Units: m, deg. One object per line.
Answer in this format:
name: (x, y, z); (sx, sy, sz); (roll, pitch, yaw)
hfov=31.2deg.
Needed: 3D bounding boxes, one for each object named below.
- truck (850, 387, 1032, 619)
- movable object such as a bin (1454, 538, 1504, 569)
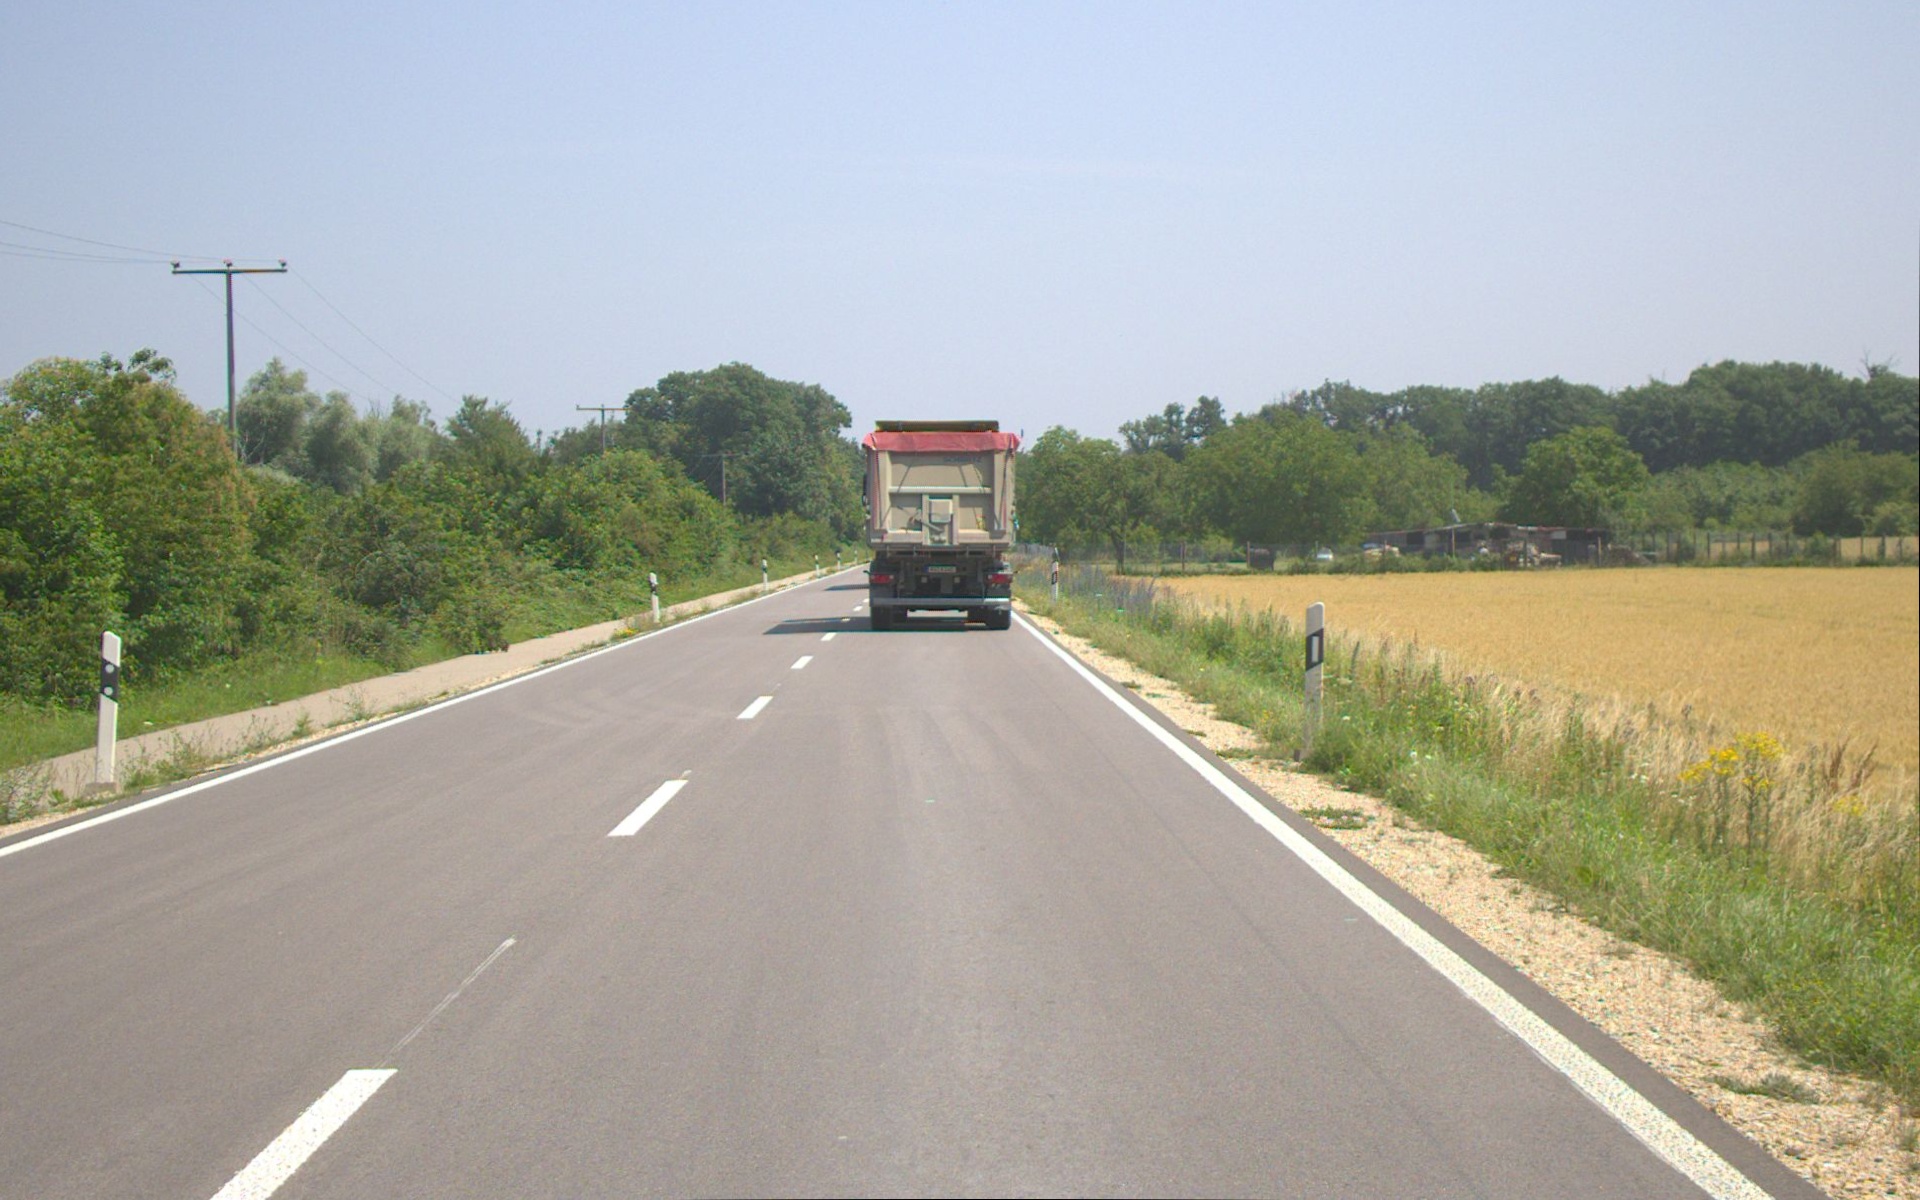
truck: (-0.390, -1.716, 64.328); (3.009, 3.861, 12.210); (1, 1, -1)
movable object such as a bin: (25.246, -2.271, 167.320); (1.570, 1.491, 3.659); (-1, 1, -5)
